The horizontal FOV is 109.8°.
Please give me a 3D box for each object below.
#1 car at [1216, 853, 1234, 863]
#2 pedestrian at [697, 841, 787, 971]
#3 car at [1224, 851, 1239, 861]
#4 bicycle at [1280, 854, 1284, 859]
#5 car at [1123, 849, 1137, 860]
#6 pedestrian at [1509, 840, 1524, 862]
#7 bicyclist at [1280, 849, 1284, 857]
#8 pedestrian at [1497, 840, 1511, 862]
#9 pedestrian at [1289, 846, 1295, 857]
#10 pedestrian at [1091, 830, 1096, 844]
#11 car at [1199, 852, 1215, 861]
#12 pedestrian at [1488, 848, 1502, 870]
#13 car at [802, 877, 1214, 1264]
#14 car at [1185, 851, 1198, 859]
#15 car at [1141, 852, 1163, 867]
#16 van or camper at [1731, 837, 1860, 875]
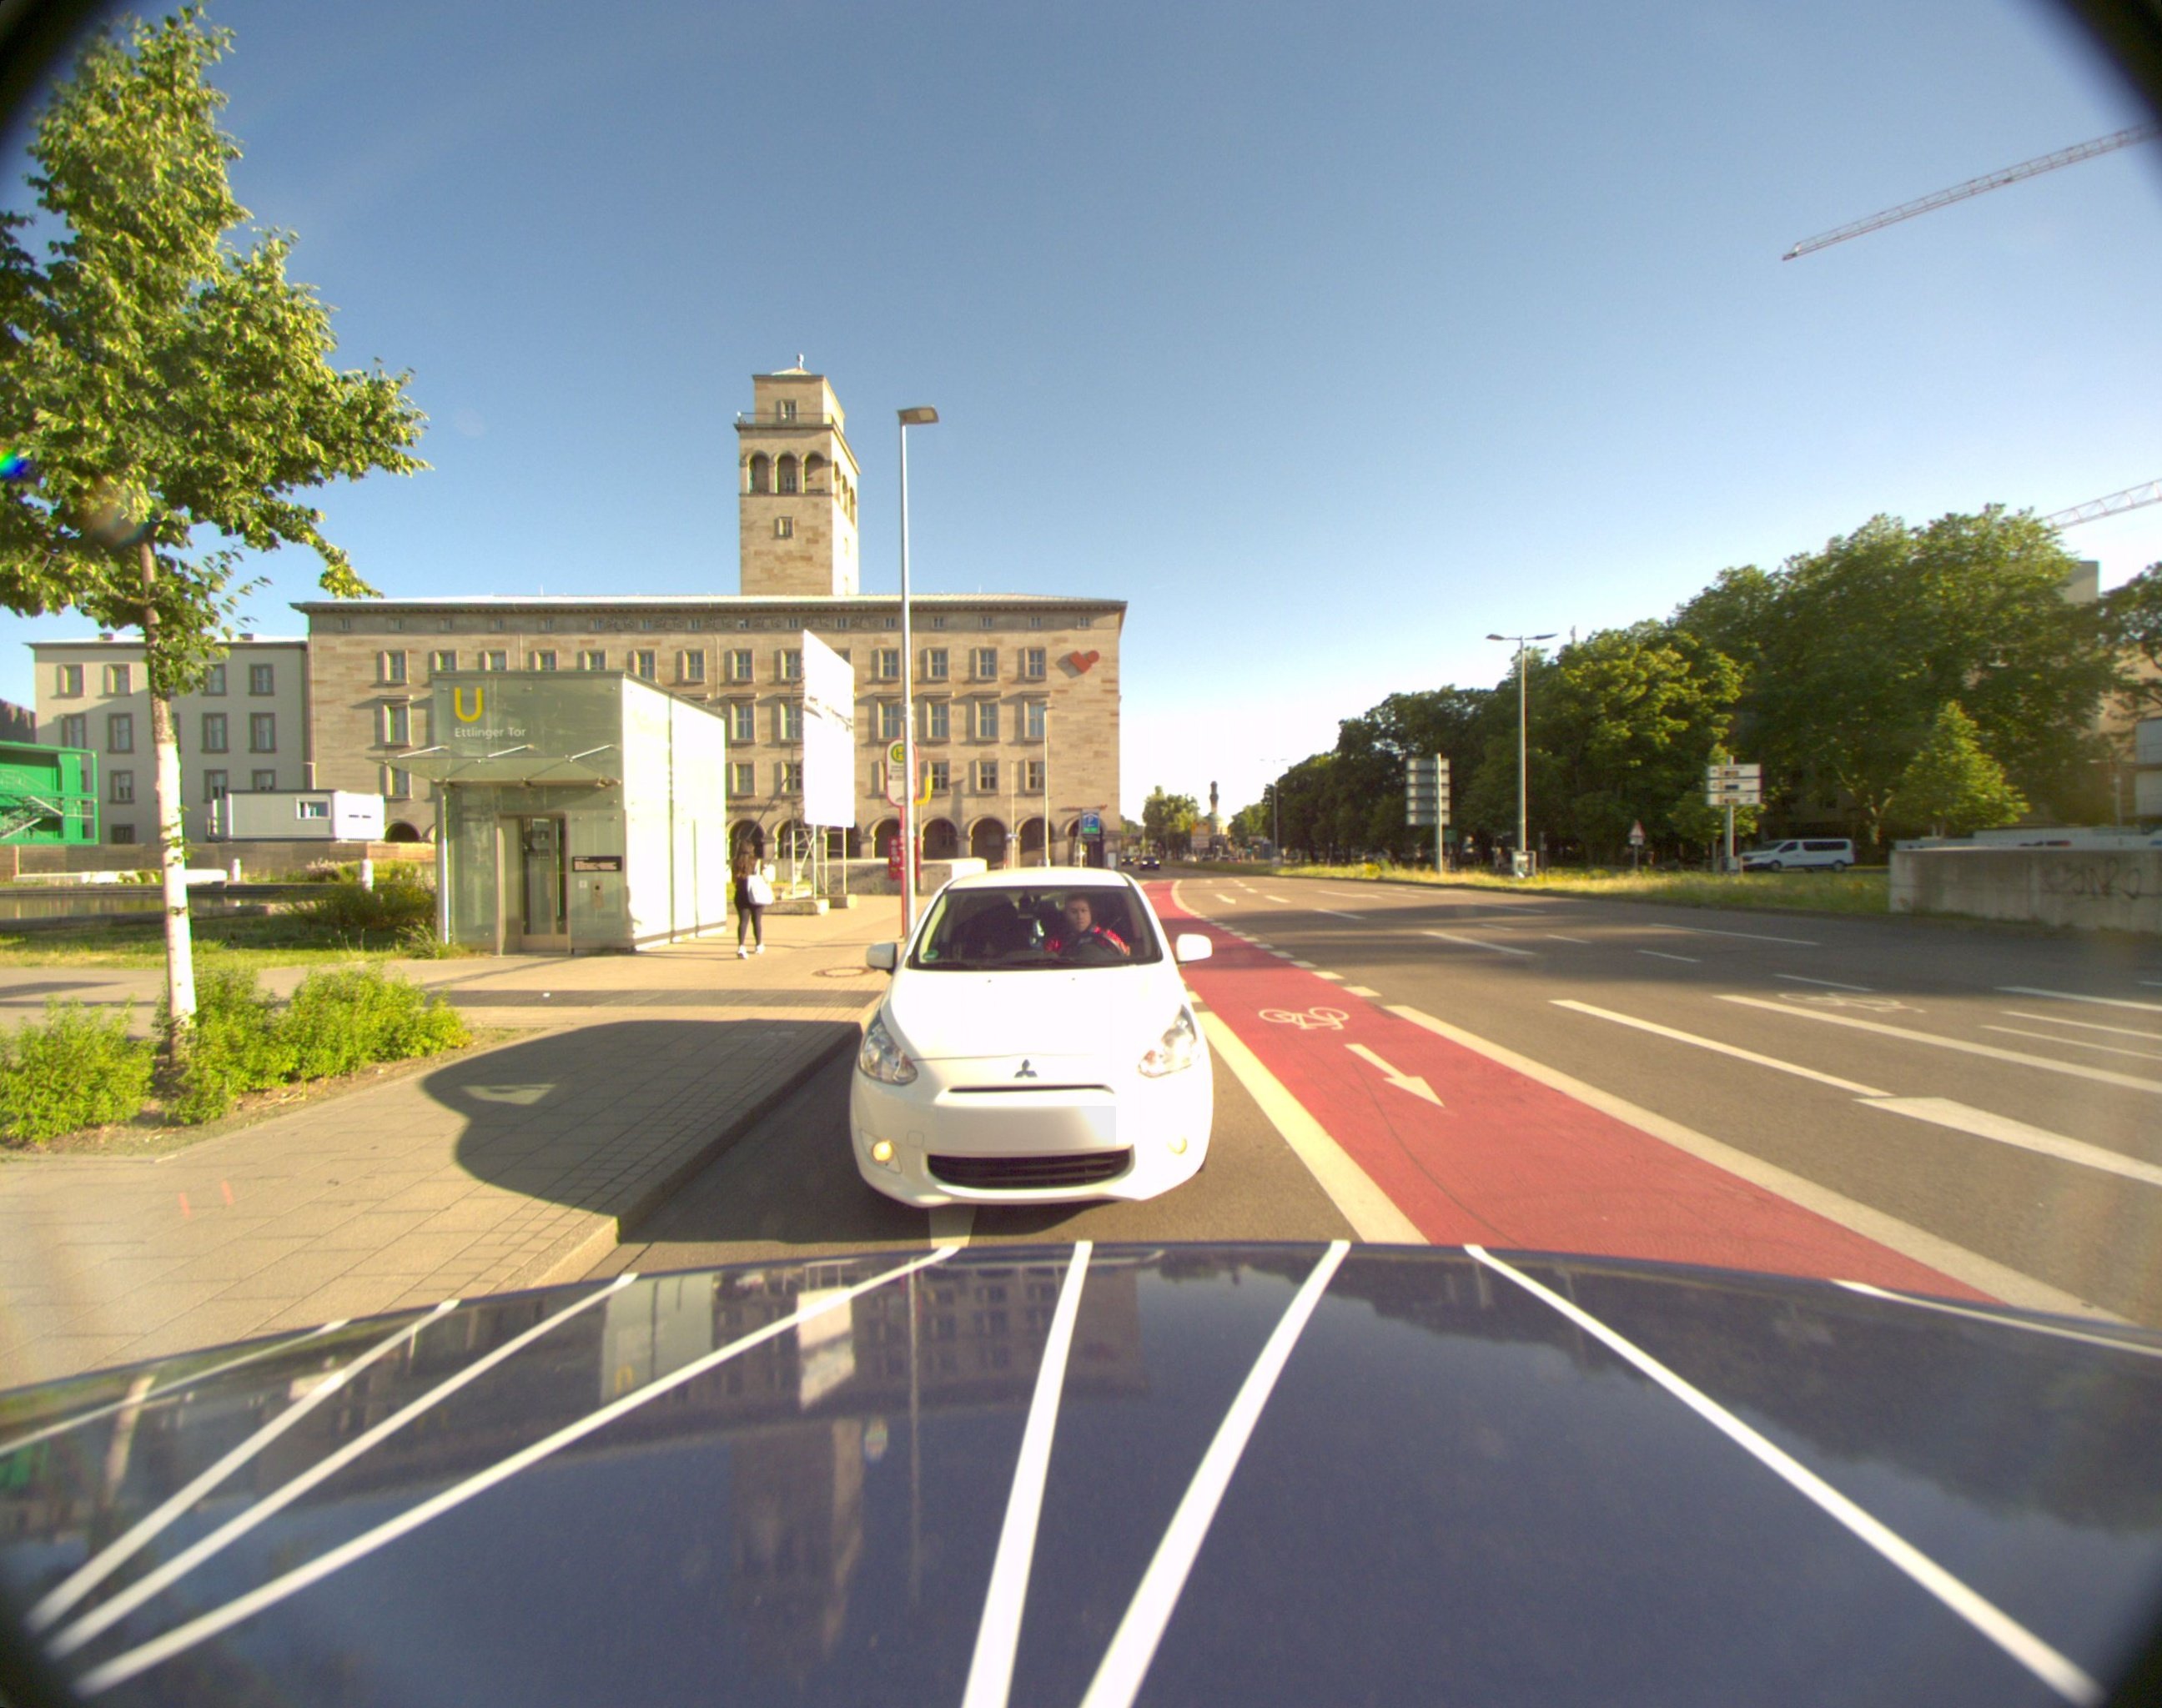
[{"bbox_3d":[21.336,0.569,112.467,1.872,1.390,3.999,-1,0,-1],"label":"car"},{"bbox_3d":[-4.880,0.718,11.017,0.943,1.776,1.071,1,0,-11],"label":"pedestrian"},{"bbox_3d":[25.521,0.327,128.871,1.998,1.499,4.000,-1,0,2],"label":"car"},{"bbox_3d":[32.516,0.380,122.942,0.610,0.838,1.747,0,0,14],"label":"bicycle"},{"bbox_3d":[8.103,0.079,126.358,1.999,1.709,4.325,-1,0,-1],"label":"car"},{"bbox_3d":[33.911,-0.224,59.141,0.707,1.715,0.762,-1,1,1],"label":"pedestrian"},{"bbox_3d":[32.512,-0.104,122.933,0.610,1.274,0.716,0,1,14],"label":"bicyclist"},{"bbox_3d":[32.904,-0.251,59.115,0.665,1.715,0.762,-1,1,1],"label":"pedestrian"},{"bbox_3d":[35.744,-0.439,128.854,0.927,1.837,0.626,-1,1,-45],"label":"pedestrian"},{"bbox_3d":[1.622,-2.234,100.229,0.704,1.843,0.828,-1,1,0],"label":"pedestrian"},{"bbox_3d":[20.730,0.442,125.352,1.872,1.390,3.999,-1,0,-1],"label":"car"},{"bbox_3d":[32.204,0.413,59.074,0.707,1.715,0.762,-1,1,1],"label":"pedestrian"},{"bbox_3d":[-0.342,0.967,5.146,1.679,1.440,3.888,-2,0,-1],"label":"car"},{"bbox_3d":[20.434,0.137,140.566,1.873,1.390,3.999,-1,0,-2],"label":"car"},{"bbox_3d":[8.027,0.599,85.715,1.937,1.634,4.616,-1,0,-1],"label":"car"},{"bbox_3d":[42.309,0.089,45.081,5.649,2.002,1.948,-2,1,2],"label":"van or camper"}]
